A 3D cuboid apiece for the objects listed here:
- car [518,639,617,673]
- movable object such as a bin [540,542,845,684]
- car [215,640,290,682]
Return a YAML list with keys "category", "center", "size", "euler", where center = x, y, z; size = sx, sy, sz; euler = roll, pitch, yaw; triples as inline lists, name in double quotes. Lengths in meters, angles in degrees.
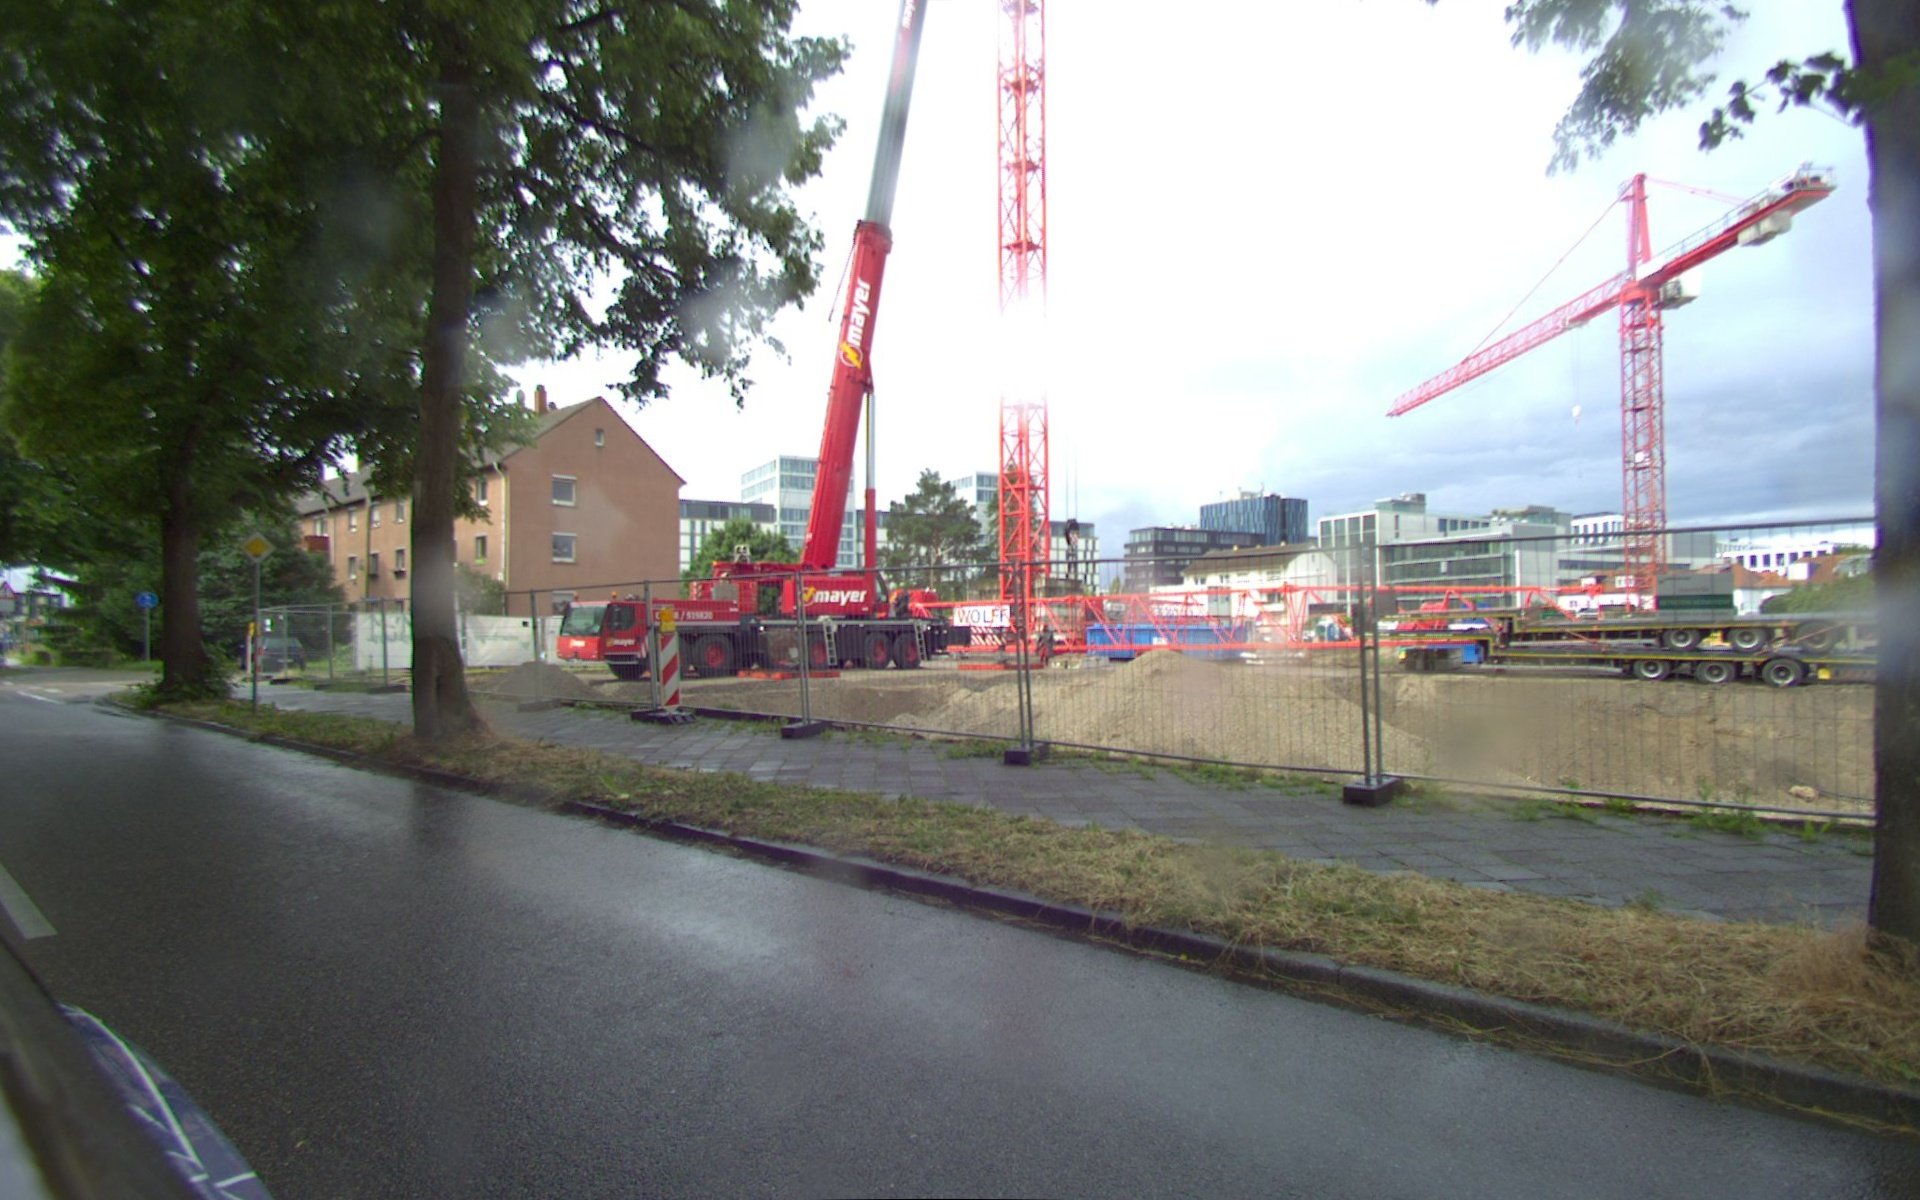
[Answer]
- category: "car"
  center: [-17.623, 2.479, 45.636]
  size: [1.721, 1.424, 4.026]
  euler: [-2, -2, 29]
- category: "movable object such as a bin"
  center: [-8.730, 0.486, 34.366]
  size: [3.366, 4.147, 9.705]
  euler: [-3, -3, 43]
- category: "car"
  center: [-27.960, 2.359, 39.947]
  size: [3.869, 1.431, 1.607]
  euler: [0, 0, 42]
